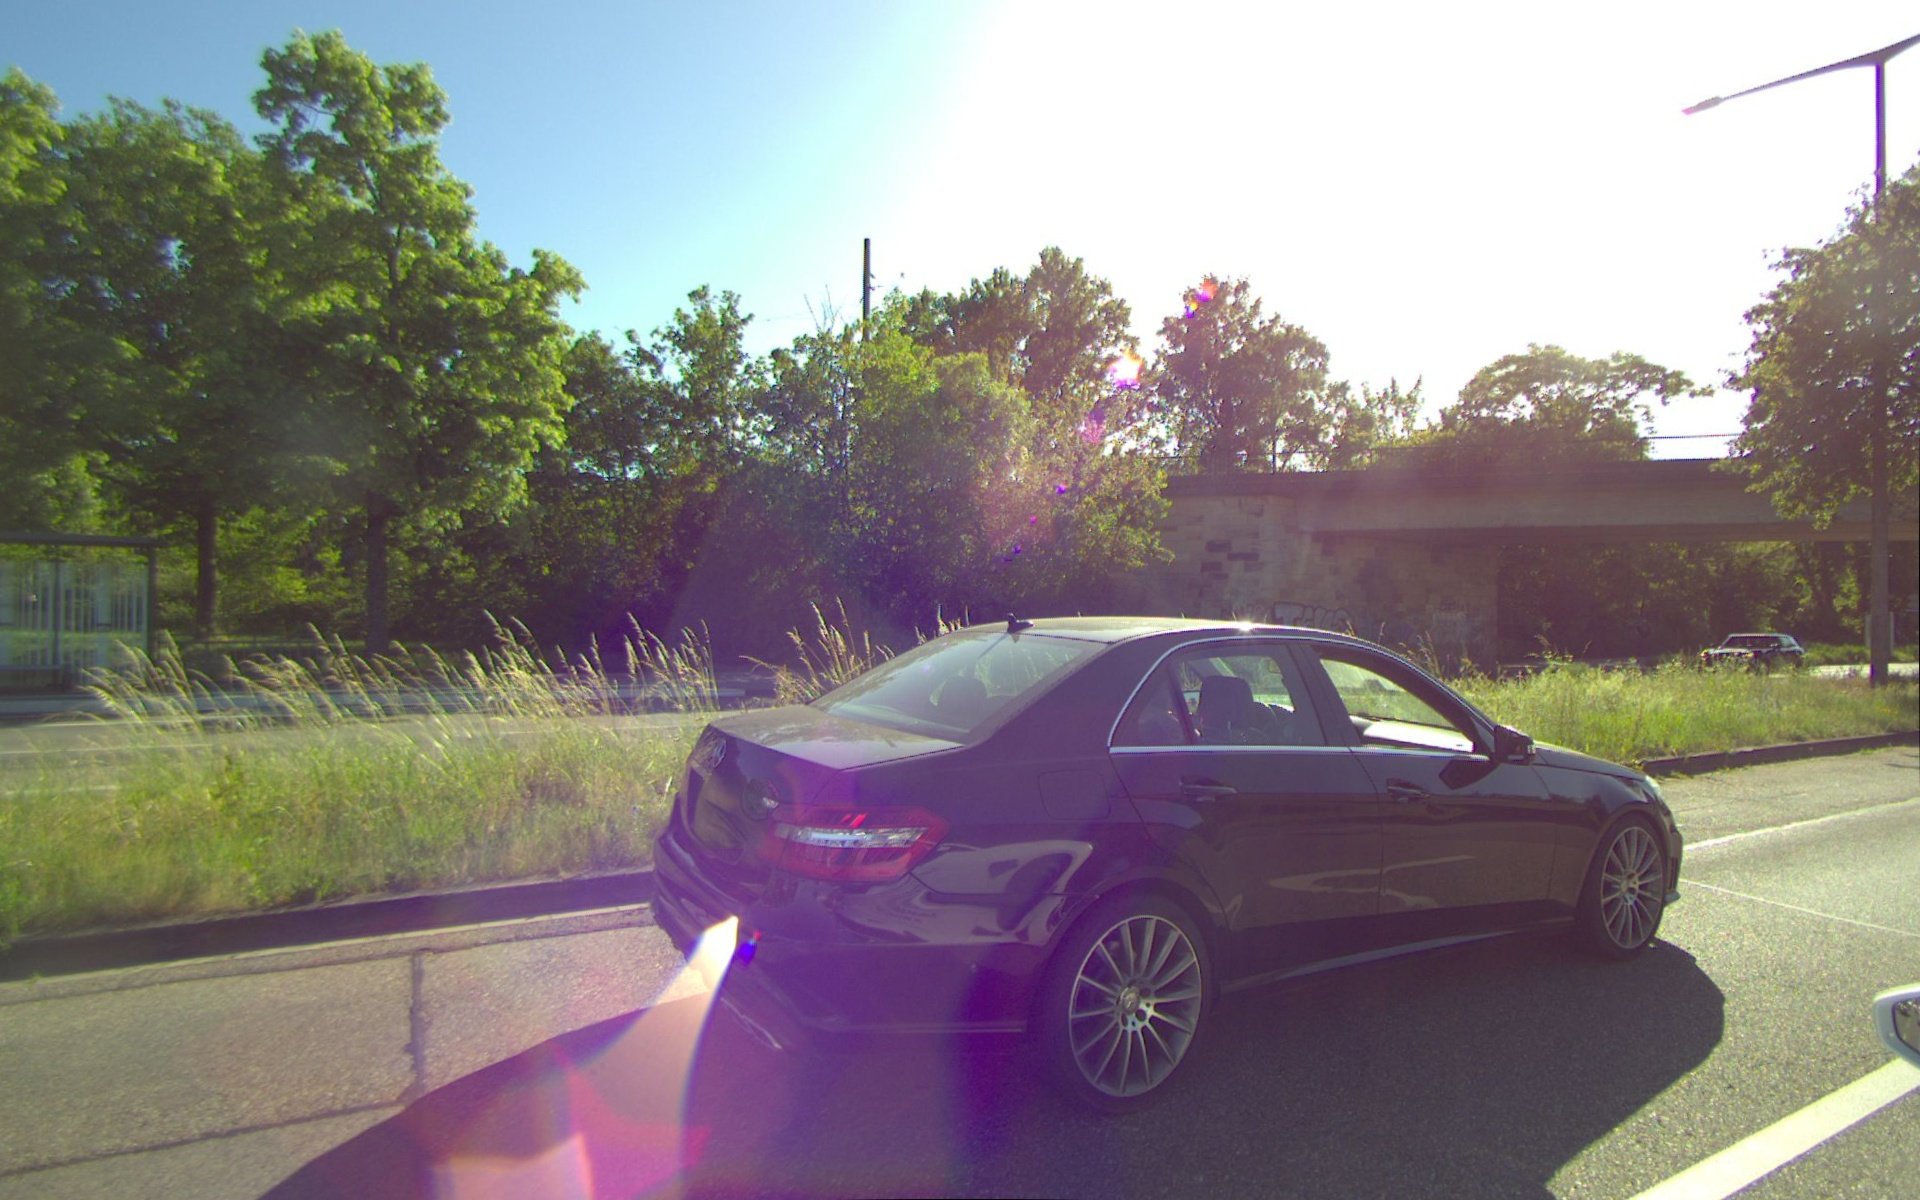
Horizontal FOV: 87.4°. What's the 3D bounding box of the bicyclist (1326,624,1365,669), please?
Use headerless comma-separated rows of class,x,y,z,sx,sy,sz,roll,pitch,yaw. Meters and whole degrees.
bicyclist,12.618,1.513,32.862,1.014,1.420,0.677,2,0,-30

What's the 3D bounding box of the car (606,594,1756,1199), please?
car,1.164,0.793,4.388,4.859,1.502,1.950,1,-1,-29

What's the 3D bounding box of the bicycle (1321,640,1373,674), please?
bicycle,12.668,1.857,32.889,1.694,1.044,0.680,2,0,-30

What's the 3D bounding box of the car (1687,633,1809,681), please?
car,25.703,1.827,32.747,4.042,1.461,1.808,2,-2,-30
